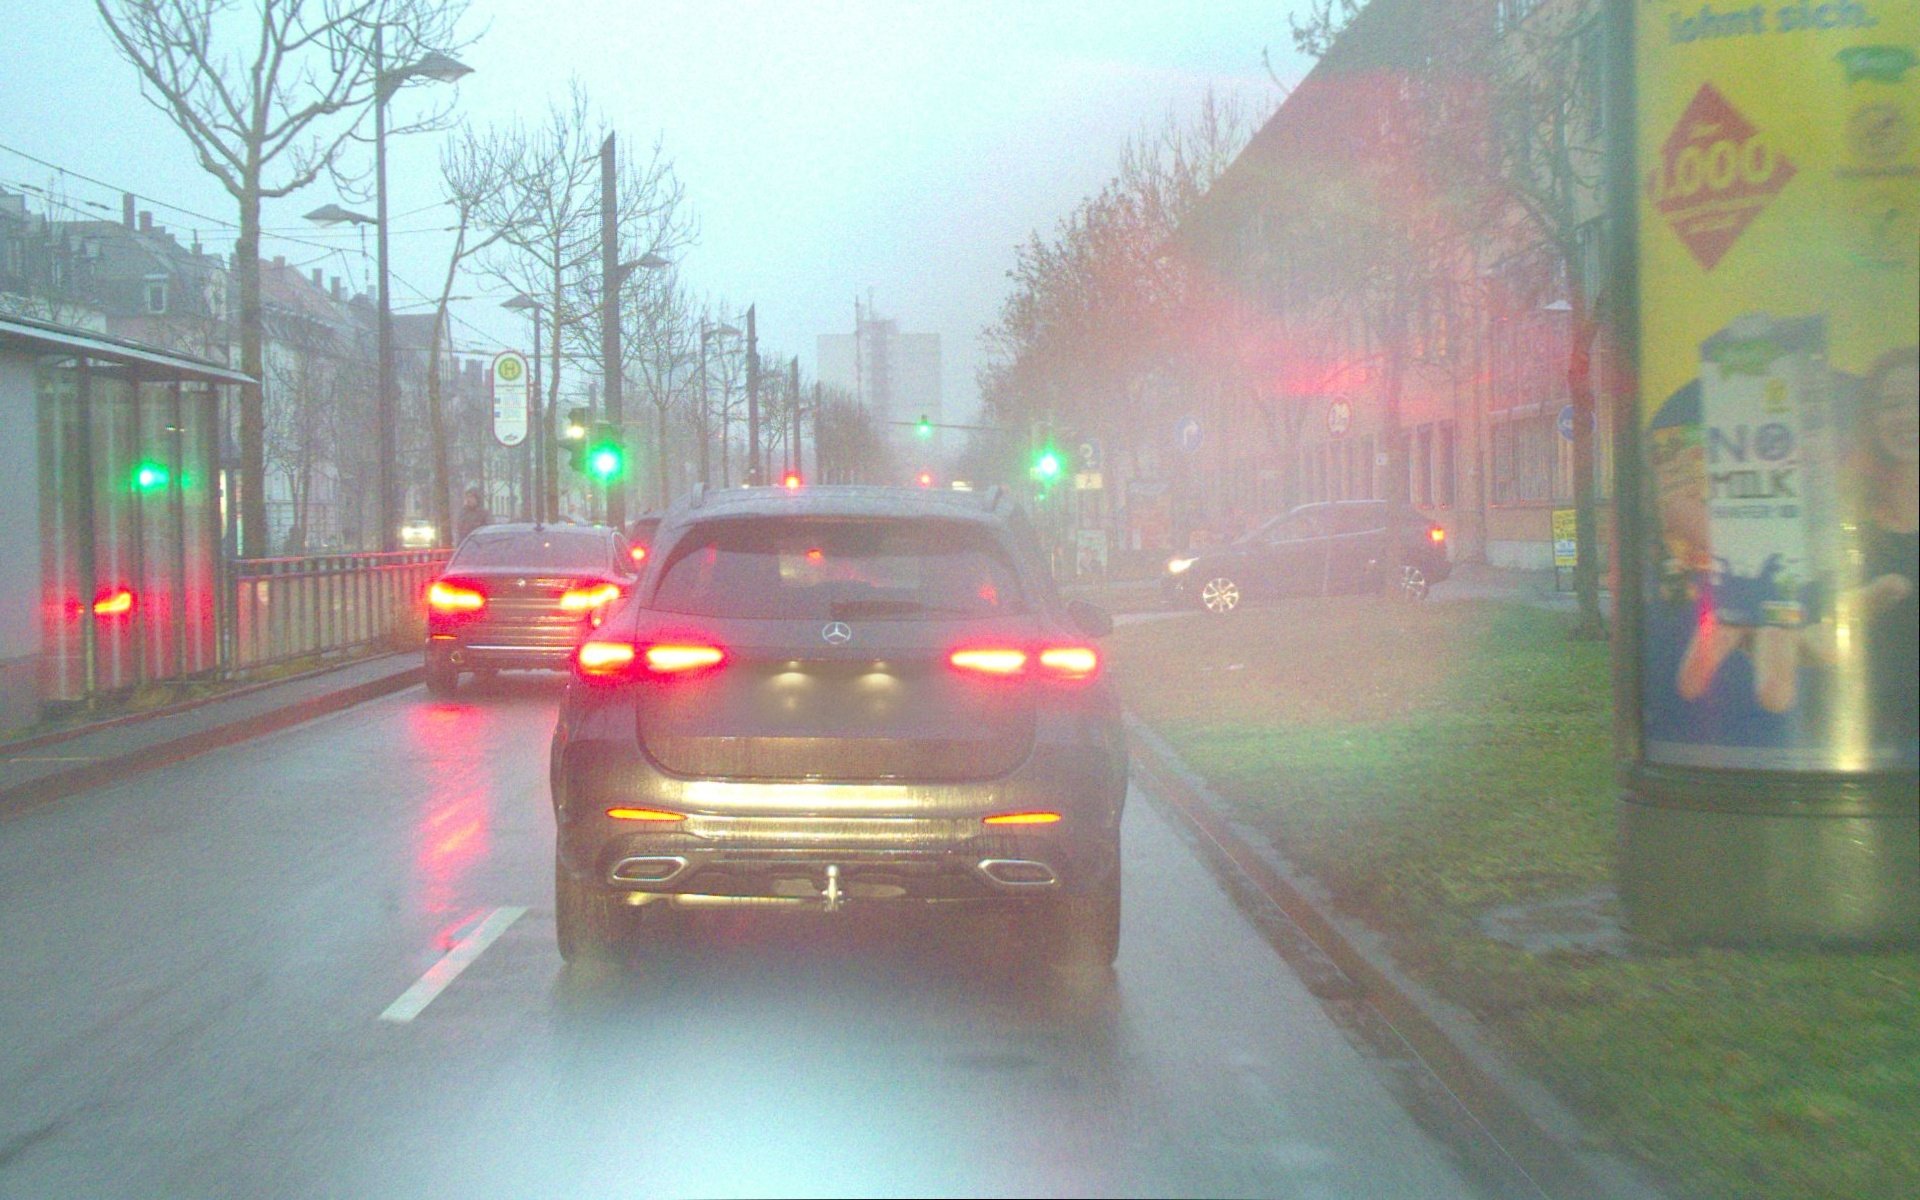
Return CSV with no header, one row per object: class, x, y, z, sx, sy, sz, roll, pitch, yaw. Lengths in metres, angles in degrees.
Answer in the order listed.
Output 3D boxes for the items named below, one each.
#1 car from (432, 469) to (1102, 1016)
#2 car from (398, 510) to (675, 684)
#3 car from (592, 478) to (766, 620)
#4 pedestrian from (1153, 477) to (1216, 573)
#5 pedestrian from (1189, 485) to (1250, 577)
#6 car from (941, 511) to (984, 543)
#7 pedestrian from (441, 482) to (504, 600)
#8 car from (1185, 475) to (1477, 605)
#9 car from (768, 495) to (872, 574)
car,-0.633,0.376,12.437,1.991,1.610,4.001,-1,2,-1
car,-3.706,-0.078,30.731,1.993,1.393,4.000,-1,2,-1
car,-3.689,-0.704,45.739,1.993,1.759,4.000,-1,2,-1
pedestrian,3.776,-1.266,57.883,0.903,1.590,0.501,0,2,42
pedestrian,4.532,-1.206,60.074,0.903,1.590,0.501,0,2,42
car,0.120,-3.572,167.165,1.993,1.474,4.000,-2,1,-1
pedestrian,-6.522,-0.789,45.991,0.699,1.547,0.669,-2,1,0
car,5.194,-0.856,48.445,3.860,1.555,1.765,-4,2,1
car,-2.980,-1.421,73.783,1.993,1.612,4.000,-1,2,1
